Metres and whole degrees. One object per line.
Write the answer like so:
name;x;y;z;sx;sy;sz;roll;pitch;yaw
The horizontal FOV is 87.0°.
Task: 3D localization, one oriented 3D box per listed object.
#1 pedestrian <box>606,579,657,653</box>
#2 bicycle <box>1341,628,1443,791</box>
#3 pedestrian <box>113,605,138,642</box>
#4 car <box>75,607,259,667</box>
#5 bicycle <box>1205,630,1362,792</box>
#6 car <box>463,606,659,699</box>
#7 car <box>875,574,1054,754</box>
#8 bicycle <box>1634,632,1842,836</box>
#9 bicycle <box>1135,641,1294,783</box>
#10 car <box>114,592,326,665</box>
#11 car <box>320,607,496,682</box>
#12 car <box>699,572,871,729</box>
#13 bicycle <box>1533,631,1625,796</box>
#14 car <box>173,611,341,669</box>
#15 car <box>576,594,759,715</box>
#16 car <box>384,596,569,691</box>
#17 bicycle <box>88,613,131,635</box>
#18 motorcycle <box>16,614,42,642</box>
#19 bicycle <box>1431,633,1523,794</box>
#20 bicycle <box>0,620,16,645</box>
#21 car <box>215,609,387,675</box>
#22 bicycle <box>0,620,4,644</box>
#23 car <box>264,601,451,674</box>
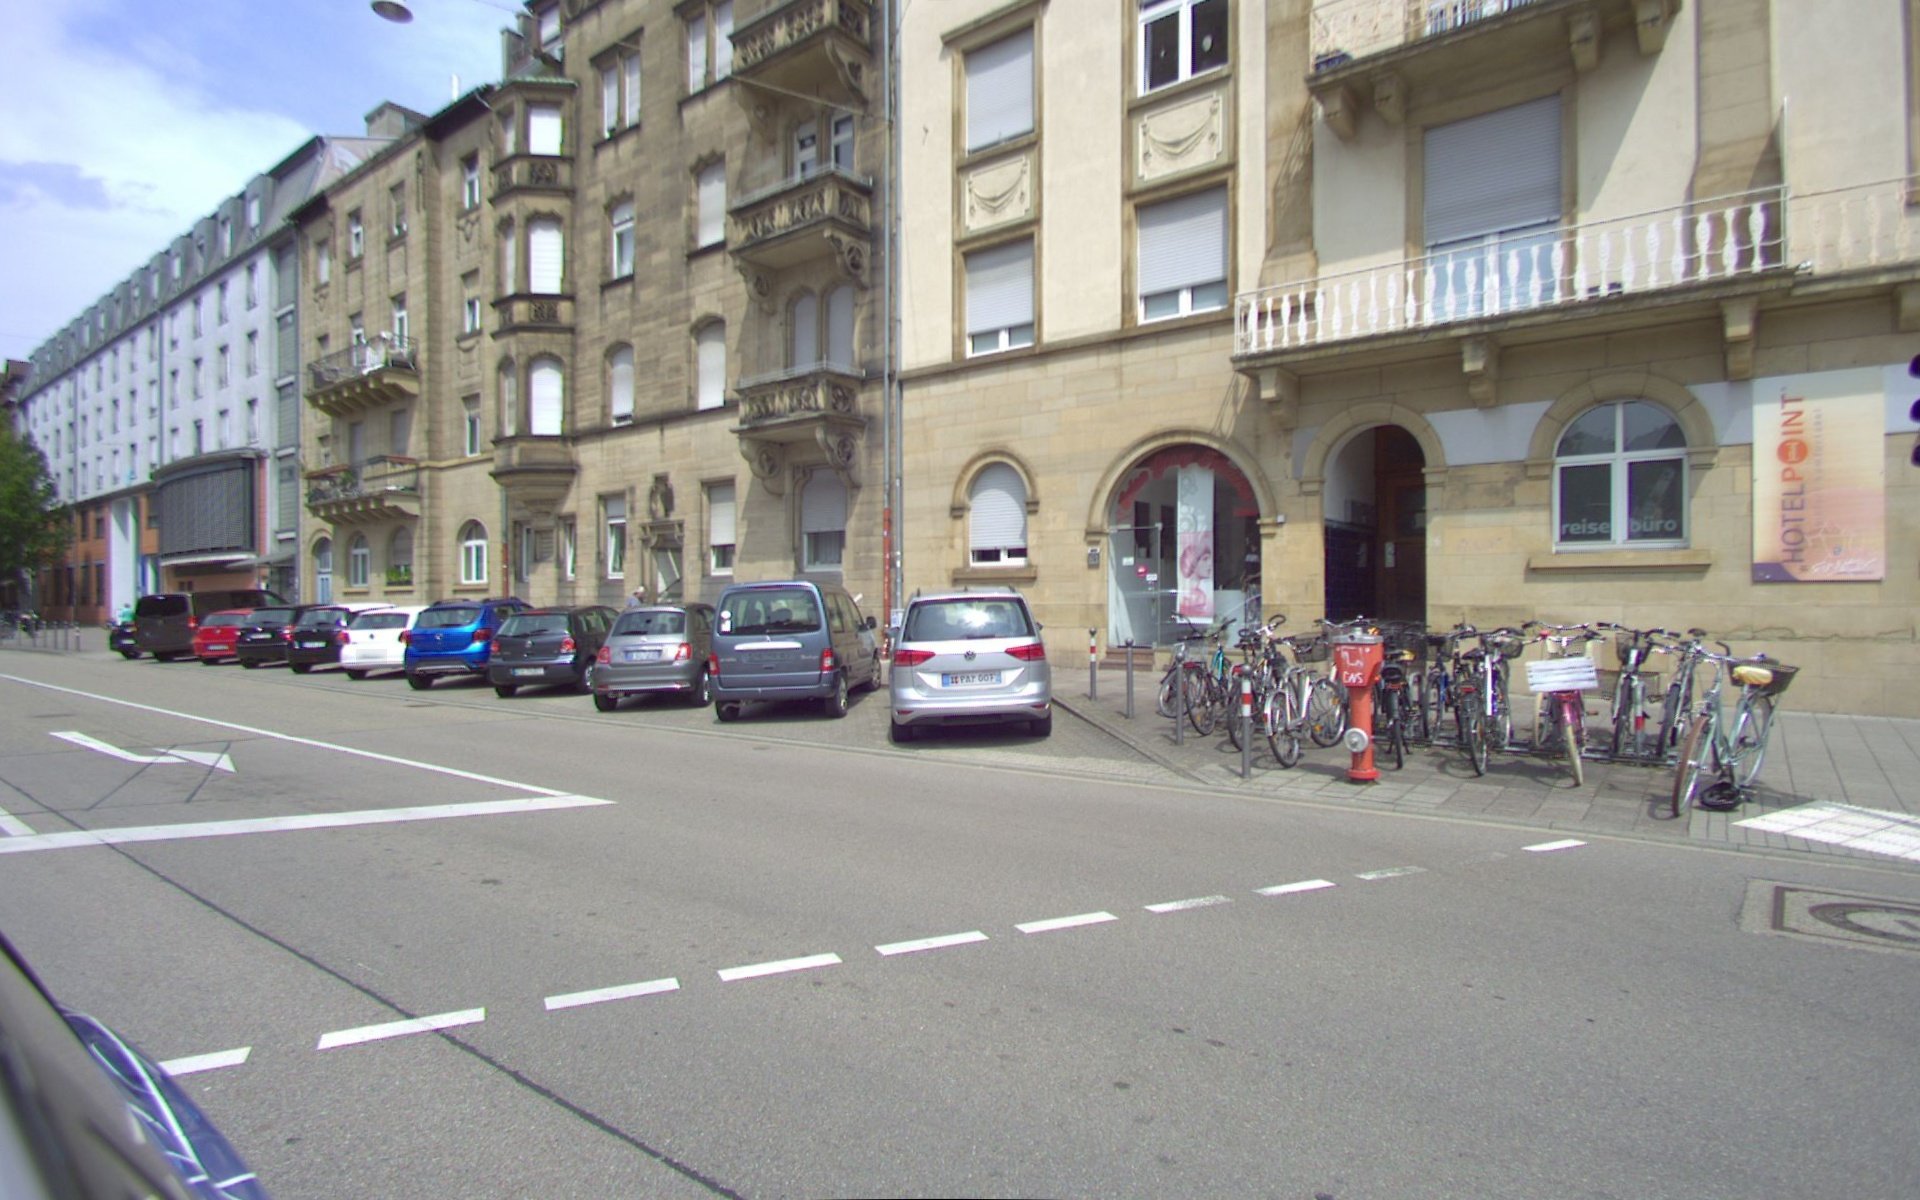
pedestrian;-7.354;0.351;22.646;0.678;1.606;0.784;-1;2;38
bicycle;3.838;0.890;8.918;0.592;1.175;1.796;-1;2;31
pedestrian;-34.614;0.972;41.989;0.506;1.497;0.656;-1;-1;26
car;-23.767;1.042;30.616;1.873;1.419;4.672;-2;2;0
bicycle;2.877;0.908;8.891;0.594;1.128;1.790;-1;3;42
car;-6.899;0.847;17.957;1.813;1.454;3.900;-1;0;3
car;0.028;0.650;12.099;1.771;1.787;4.012;0;0;0
bicycle;5.461;0.867;7.064;1.849;1.175;0.499;-2;2;-31
bicycle;2.385;0.976;9.348;0.594;1.129;1.788;-1;-1;45
car;-21.180;0.775;29.345;2.094;1.924;5.264;-1;0;4
car;-11.792;0.896;21.902;1.719;1.492;3.683;0;0;2
car;-2.313;0.632;14.328;1.771;1.893;4.012;0;0;0
bicycle;5.187;0.878;8.516;0.592;1.128;1.796;-1;2;31
car;-18.750;1.027;27.233;1.771;1.420;4.012;0;0;-1
car;-4.442;0.767;16.000;1.771;1.664;4.012;0;-1;0
car;-9.216;0.779;19.641;1.701;1.664;3.775;0;0;2
bicycle;-43.759;1.236;52.078;1.591;0.933;0.933;-7;4;-40
motorcycle;-40.559;1.199;44.080;1.778;1.181;0.577;-1;1;40
bicycle;4.517;0.913;8.791;0.592;1.128;1.796;-1;2;31
bicycle;-40.880;1.386;42.775;0.401;1.034;1.392;-1;0;40
car;-16.553;0.996;25.675;1.610;1.514;3.993;-1;0;3
bicycle;-41.974;1.412;43.391;0.401;1.034;1.392;-1;0;40
car;-14.089;0.829;23.962;1.775;1.576;4.004;-1;0;6
